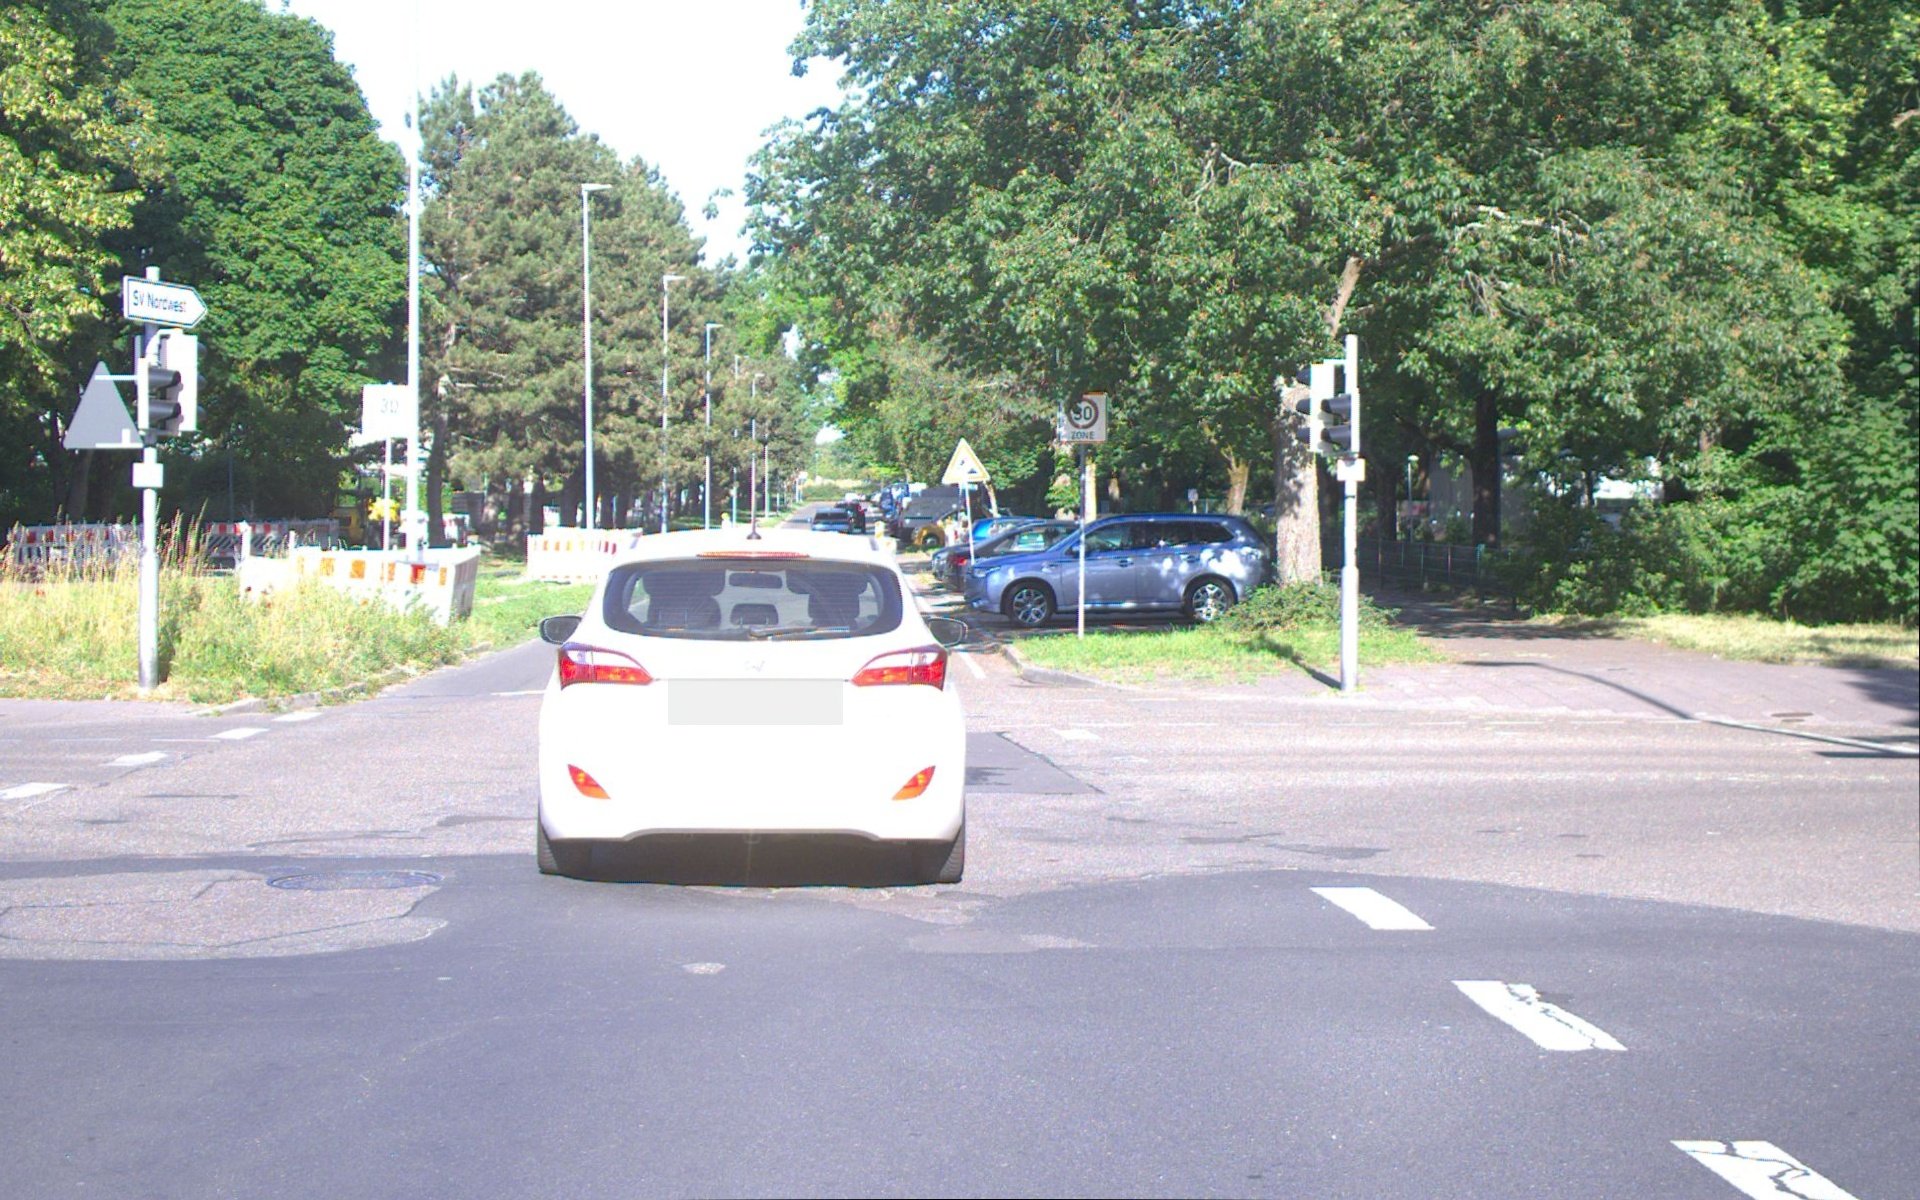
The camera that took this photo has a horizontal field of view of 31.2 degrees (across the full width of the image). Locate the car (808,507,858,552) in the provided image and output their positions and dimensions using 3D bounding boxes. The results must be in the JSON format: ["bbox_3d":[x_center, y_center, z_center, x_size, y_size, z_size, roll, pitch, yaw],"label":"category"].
[{"bbox_3d":[-5.327,-2.961,144.439,1.993,1.809,4.001,1,1,-1],"label":"car"}]

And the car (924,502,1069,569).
[{"bbox_3d":[0.965,-1.749,93.323,3.819,1.678,1.863,2,1,-1],"label":"car"}]

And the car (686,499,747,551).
[{"bbox_3d":[-8.736,-2.712,123.563,1.993,1.809,4.001,0,1,-1],"label":"car"}]

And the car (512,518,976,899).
[{"bbox_3d":[-0.955,0.380,15.416,1.789,1.458,3.964,1,1,-3],"label":"car"}]

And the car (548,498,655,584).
[{"bbox_3d":[-7.807,-1.307,75.179,1.993,1.809,4.001,0,1,-1],"label":"car"}]

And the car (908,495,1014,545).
[{"bbox_3d":[0.020,-2.963,127.508,3.819,1.761,1.863,2,1,-1],"label":"car"}]

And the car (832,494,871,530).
[{"bbox_3d":[-5.727,-4.677,182.540,1.993,1.809,4.000,2,1,-1],"label":"car"}]

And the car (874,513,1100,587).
[{"bbox_3d":[0.654,-1.270,87.170,5.613,1.678,1.948,2,1,-1],"label":"car"}]

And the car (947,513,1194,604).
[{"bbox_3d":[2.028,-0.783,63.540,4.499,1.624,1.855,0,1,1],"label":"car"}]

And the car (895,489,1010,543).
[{"bbox_3d":[-0.294,-3.191,130.648,4.301,1.901,1.863,2,1,-1],"label":"car"}]

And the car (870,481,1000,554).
[{"bbox_3d":[-0.767,-2.471,103.318,3.819,2.091,1.863,2,1,-1],"label":"car"}]

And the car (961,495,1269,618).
[{"bbox_3d":[2.290,-0.661,51.374,4.499,1.776,1.855,0,1,1],"label":"car"}]

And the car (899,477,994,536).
[{"bbox_3d":[-0.572,-3.864,142.071,3.819,2.291,1.863,2,1,-1],"label":"car"}]
